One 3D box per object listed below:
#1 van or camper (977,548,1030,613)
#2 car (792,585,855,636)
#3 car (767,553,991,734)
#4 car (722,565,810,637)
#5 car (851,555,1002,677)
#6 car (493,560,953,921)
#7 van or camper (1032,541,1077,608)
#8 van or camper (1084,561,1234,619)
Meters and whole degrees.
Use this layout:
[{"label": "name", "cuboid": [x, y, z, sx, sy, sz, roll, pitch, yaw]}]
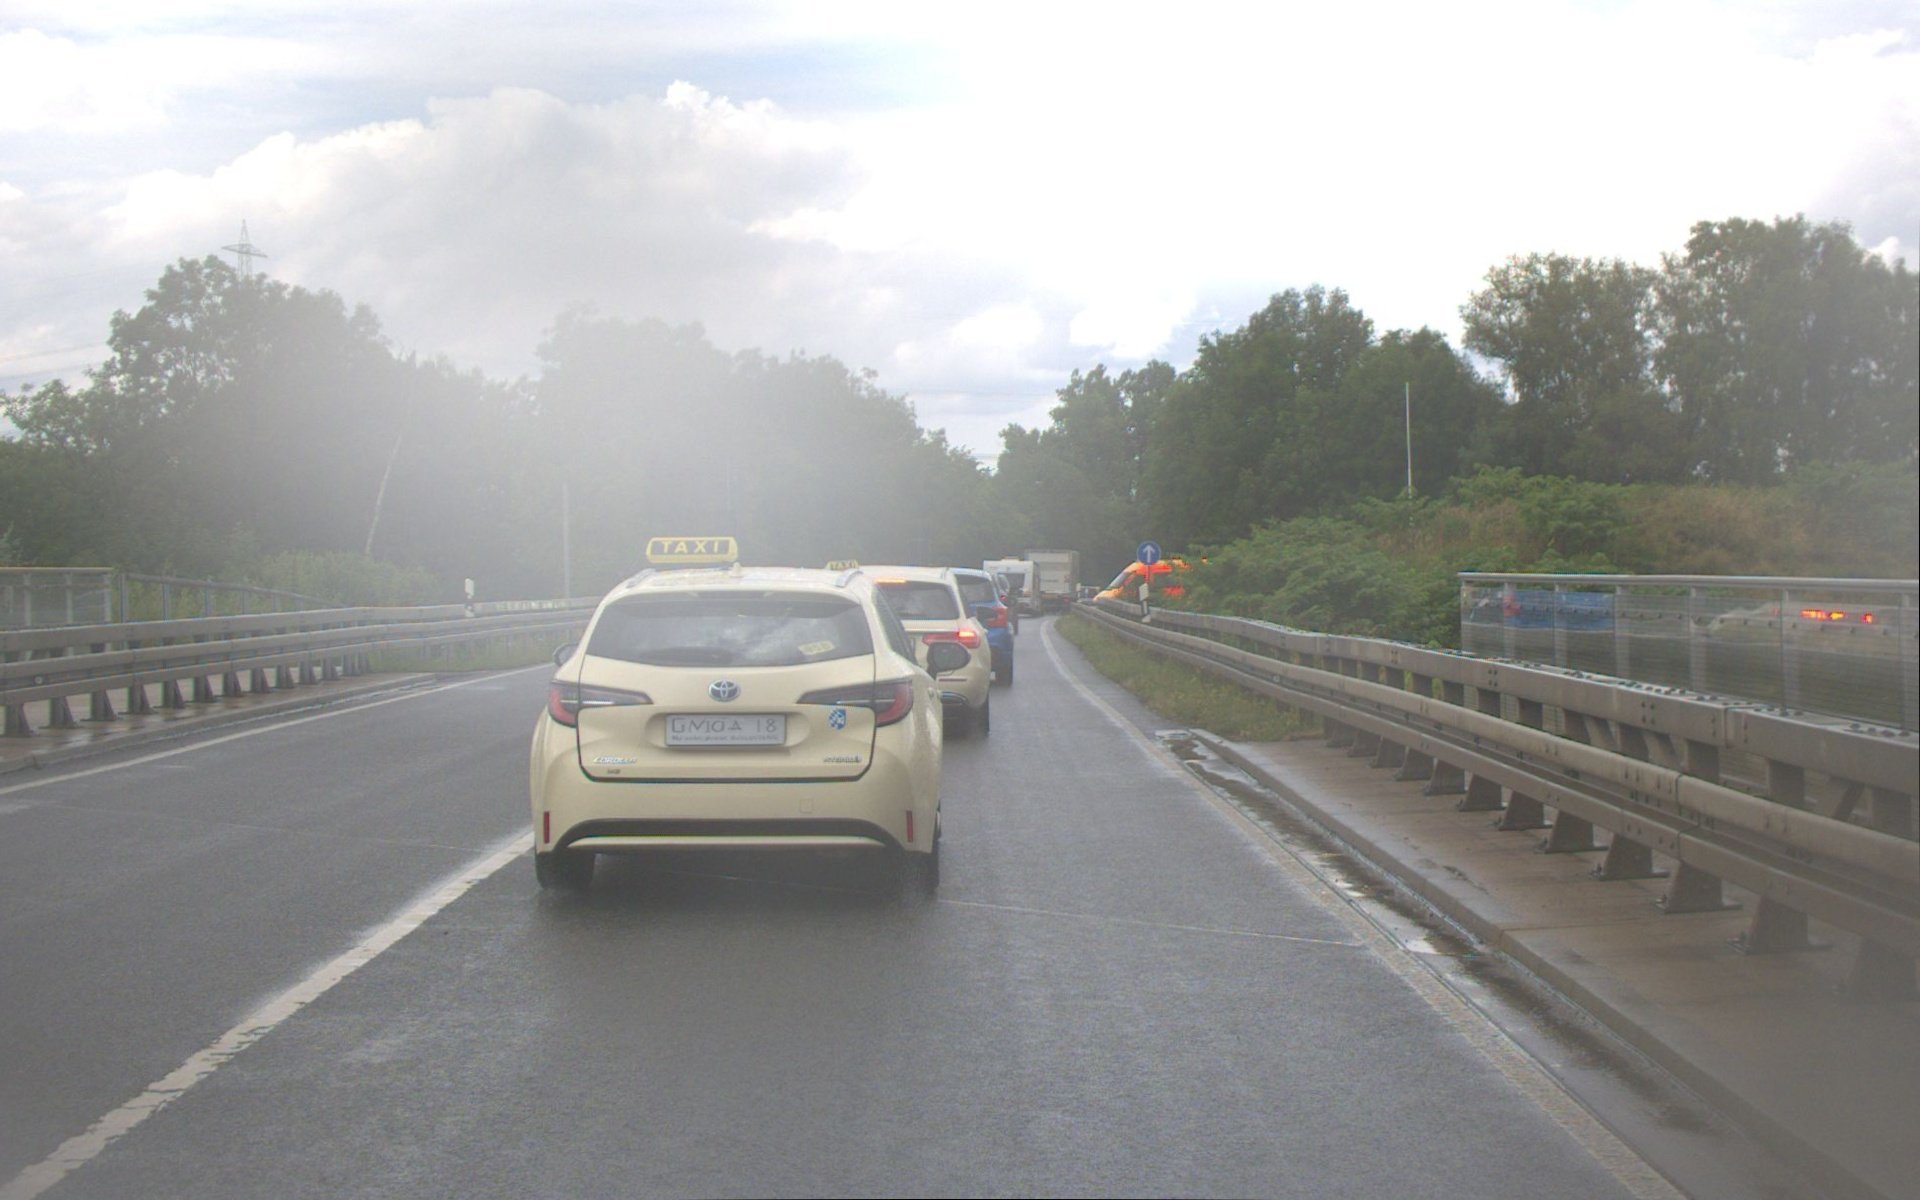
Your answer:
[{"label": "van or camper", "cuboid": [2.032, -0.930, 157.586, 2.333, 2.854, 6.306, 1, 1, 1]}, {"label": "car", "cuboid": [-4.041, 0.296, 102.298, 1.696, 1.427, 4.323, 1, 1, -1]}, {"label": "car", "cuboid": [-0.682, 0.337, 30.910, 1.854, 1.438, 4.171, 1, 1, 0]}, {"label": "car", "cuboid": [-4.232, 0.039, 75.496, 1.713, 1.511, 3.860, 1, 0, 0]}, {"label": "car", "cuboid": [-0.425, 0.169, 44.858, 1.854, 1.438, 4.171, 1, 1, 0]}, {"label": "car", "cuboid": [-0.972, 0.548, 16.092, 1.854, 1.389, 4.171, 1, 1, 0]}, {"label": "van or camper", "cuboid": [5.163, -1.414, 188.370, 2.333, 3.550, 6.306, 1, 1, 1]}, {"label": "van or camper", "cuboid": [8.039, -0.420, 138.845, 5.676, 2.234, 2.021, 1, 1, -14]}]
